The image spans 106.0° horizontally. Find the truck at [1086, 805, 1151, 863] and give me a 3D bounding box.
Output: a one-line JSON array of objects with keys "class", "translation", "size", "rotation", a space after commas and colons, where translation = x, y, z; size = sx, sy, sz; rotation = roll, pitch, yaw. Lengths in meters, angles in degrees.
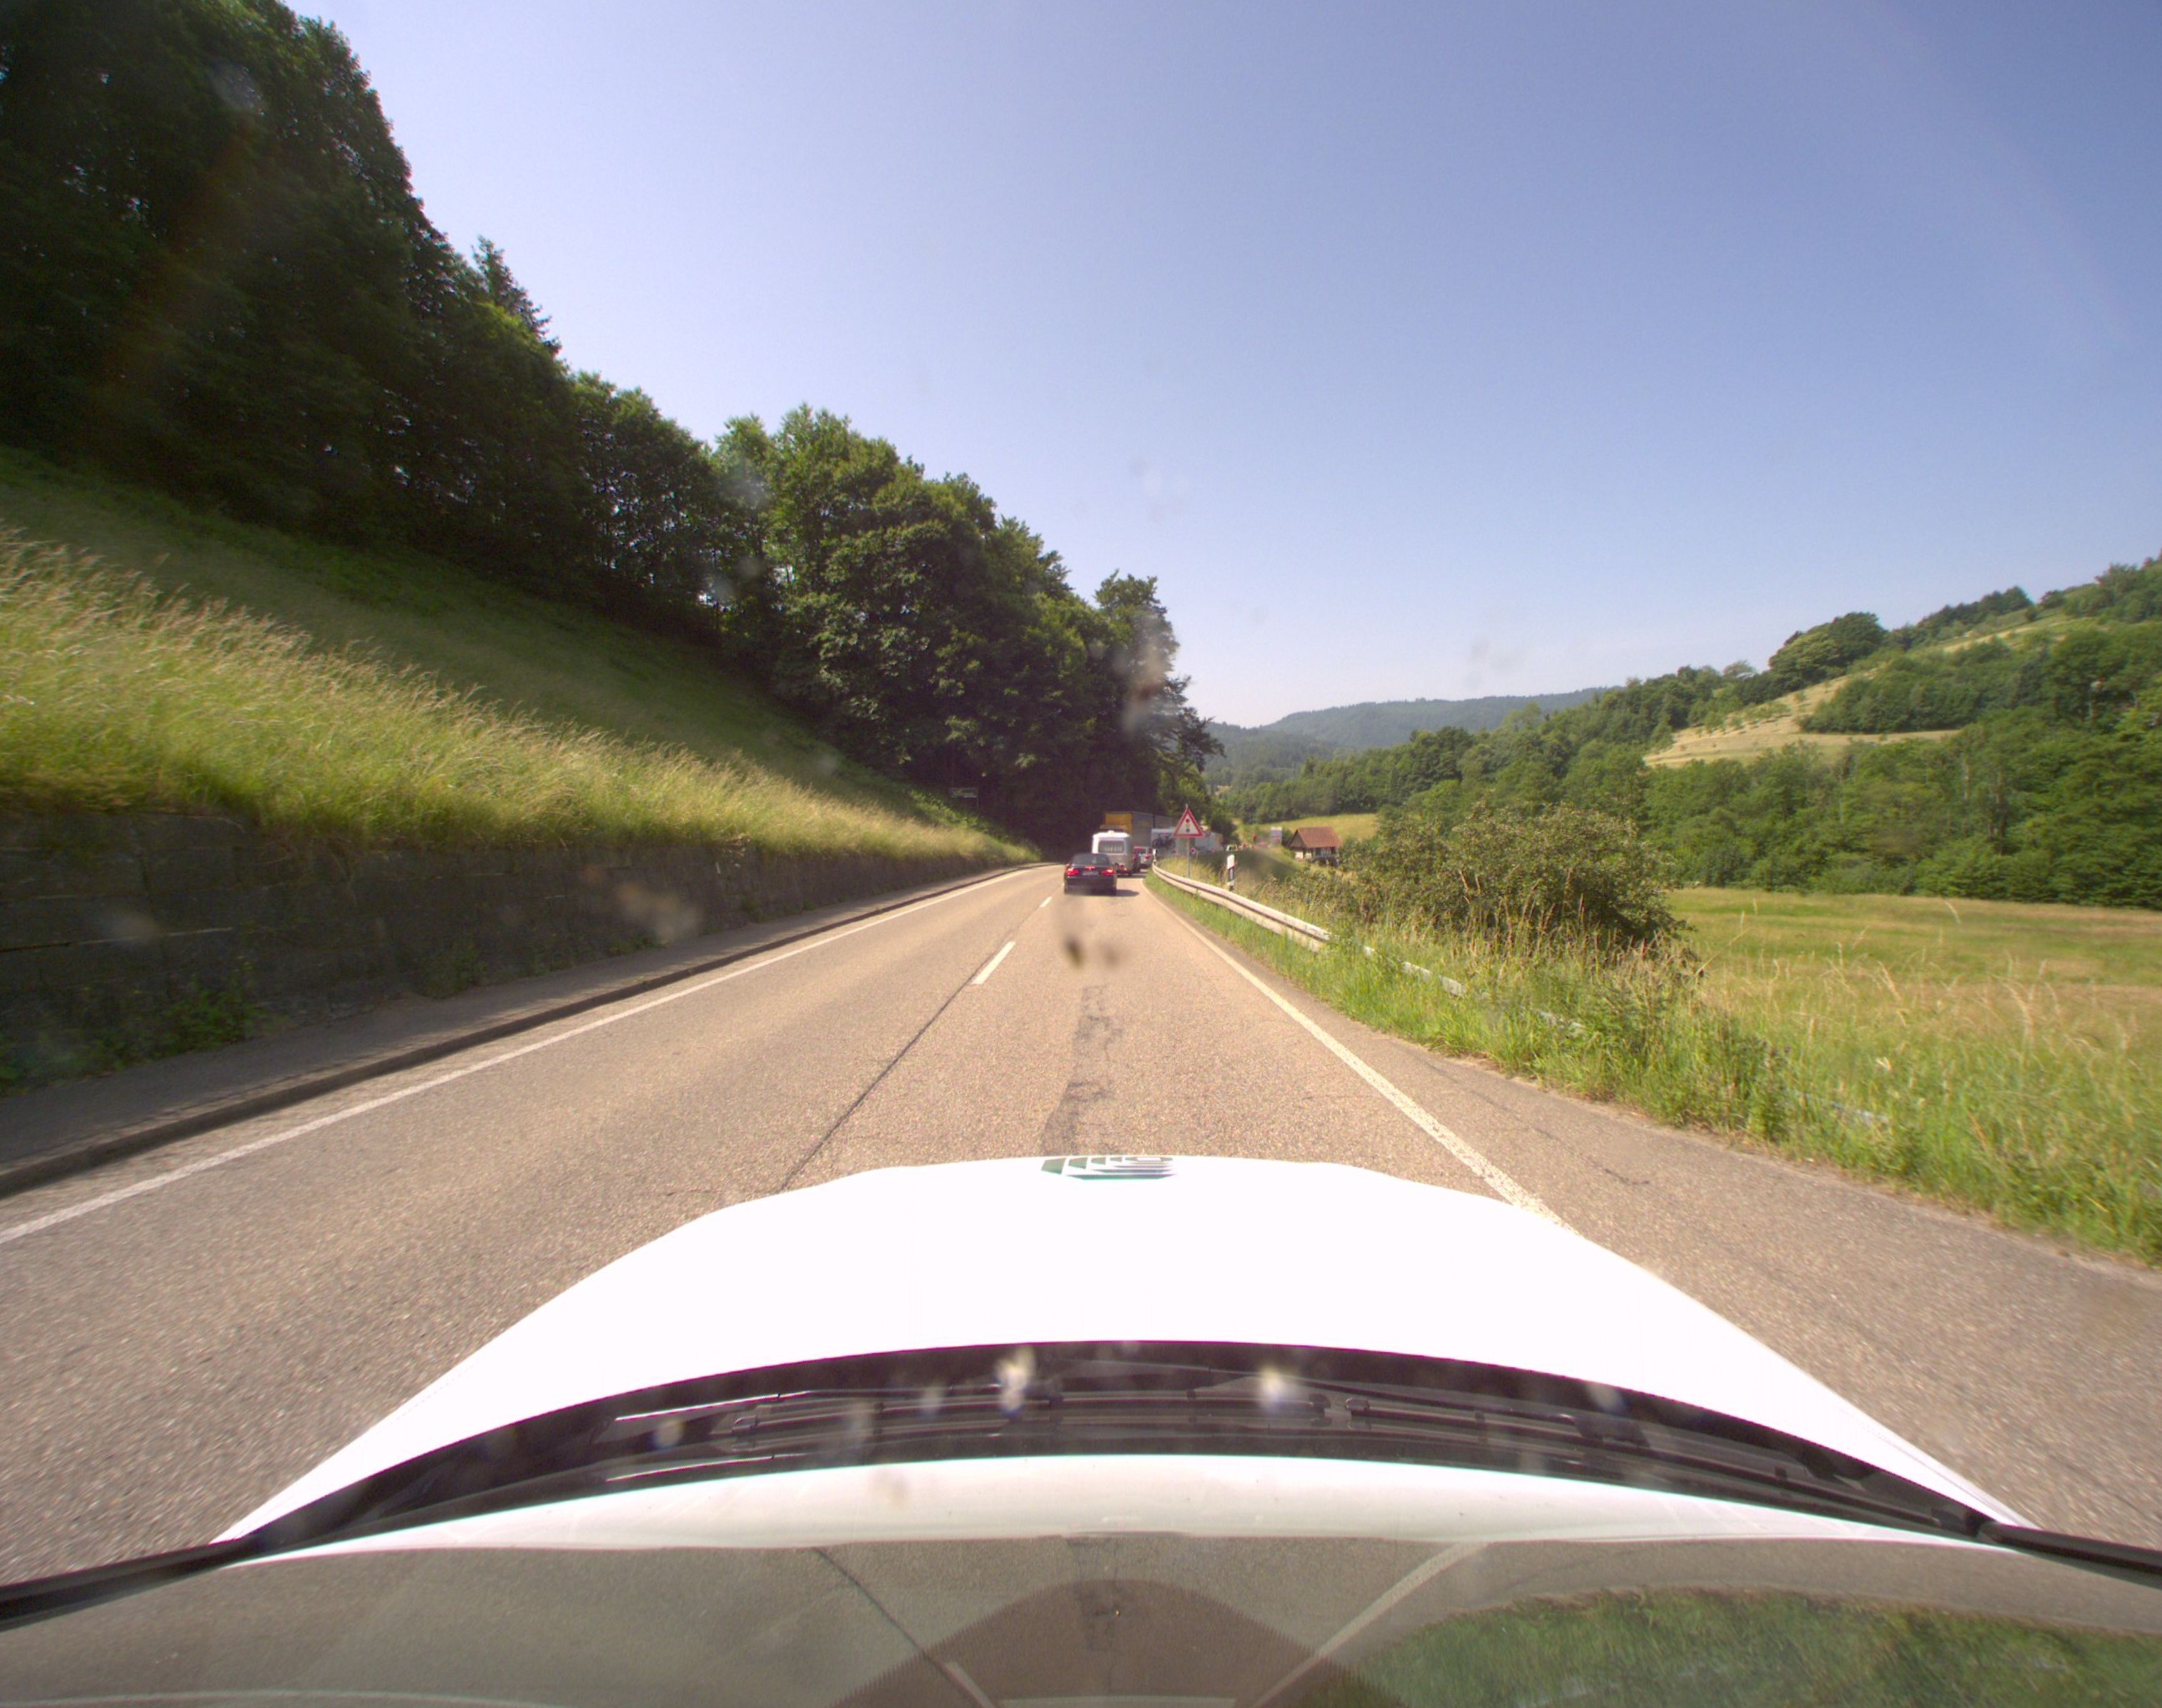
[{"class": "truck", "translation": [3.150, -1.659, 66.268], "size": [3.161, 4.396, 6.606], "rotation": [2, 2, 21]}]

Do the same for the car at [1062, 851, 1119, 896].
[{"class": "car", "translation": [0.279, 0.613, 27.583], "size": [1.766, 1.335, 3.766], "rotation": [1, 1, -1]}]

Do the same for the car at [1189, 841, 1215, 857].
[{"class": "car", "translation": [12.133, -0.520, 81.541], "size": [1.773, 1.463, 4.020], "rotation": [3, 2, 20]}]

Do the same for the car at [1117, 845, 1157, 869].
[{"class": "car", "translation": [3.780, 0.160, 54.192], "size": [1.980, 1.484, 4.014], "rotation": [2, 1, 13]}]

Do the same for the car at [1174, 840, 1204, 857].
[{"class": "car", "translation": [10.012, -0.505, 75.315], "size": [1.978, 1.463, 4.019], "rotation": [3, 2, 19]}]

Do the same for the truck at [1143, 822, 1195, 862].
[{"class": "truck", "translation": [7.264, -1.018, 66.425], "size": [2.769, 2.997, 6.900], "rotation": [3, 2, 18]}]

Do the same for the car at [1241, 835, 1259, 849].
[{"class": "car", "translation": [24.821, -1.777, 119.616], "size": [1.977, 1.925, 4.020], "rotation": [3, 2, 19]}]

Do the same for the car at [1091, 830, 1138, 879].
[{"class": "car", "translation": [1.800, -0.043, 41.962], "size": [1.983, 2.352, 4.925], "rotation": [1, 2, 7]}]

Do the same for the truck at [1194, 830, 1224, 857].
[{"class": "truck", "translation": [13.916, -1.119, 88.203], "size": [2.220, 2.804, 6.260], "rotation": [1, 0, 17]}]

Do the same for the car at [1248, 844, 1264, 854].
[{"class": "car", "translation": [29.380, -0.891, 136.467], "size": [1.976, 1.575, 4.021], "rotation": [1, 0, 21]}]

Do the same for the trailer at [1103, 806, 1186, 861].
[{"class": "trailer", "translation": [6.081, -1.802, 73.864], "size": [3.232, 4.417, 15.395], "rotation": [1, 1, 21]}]
